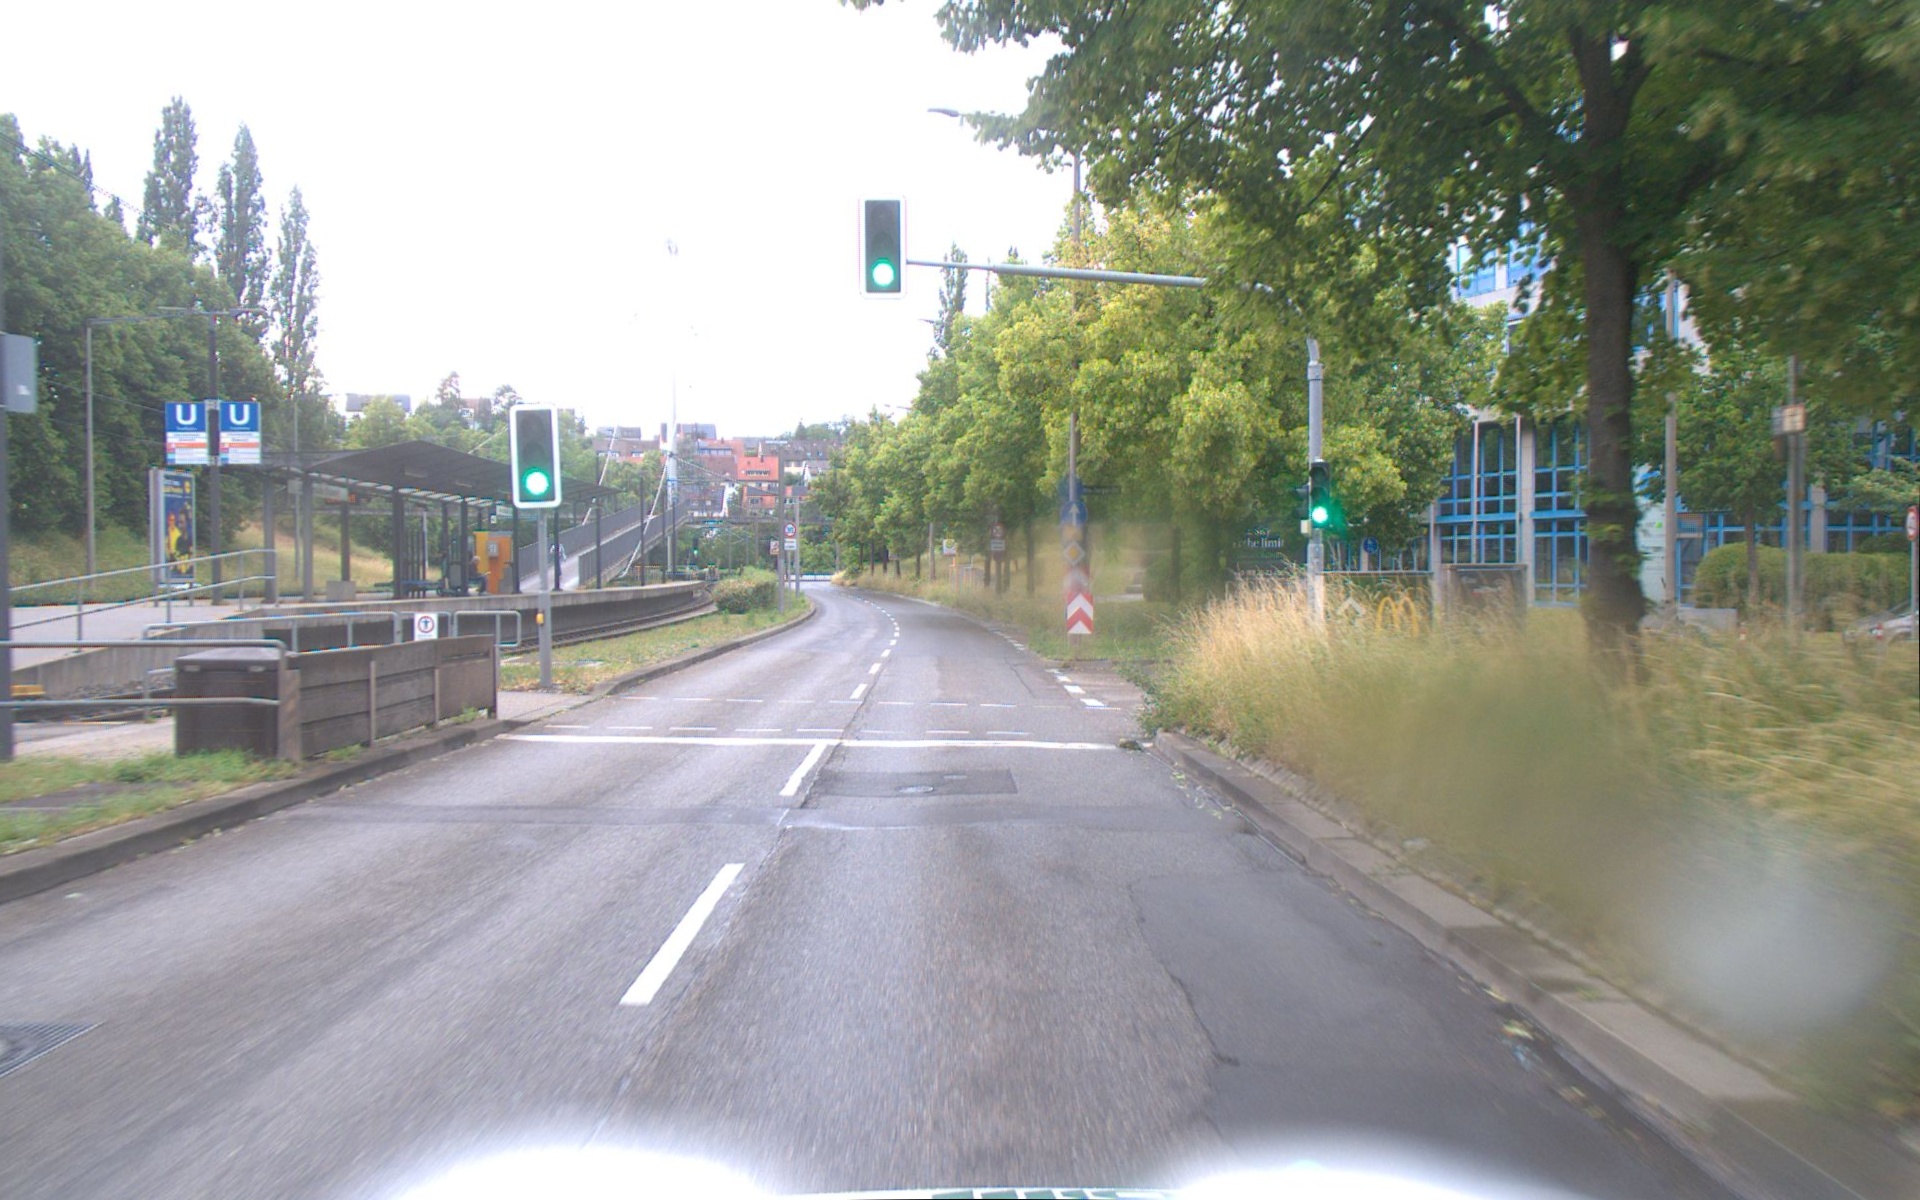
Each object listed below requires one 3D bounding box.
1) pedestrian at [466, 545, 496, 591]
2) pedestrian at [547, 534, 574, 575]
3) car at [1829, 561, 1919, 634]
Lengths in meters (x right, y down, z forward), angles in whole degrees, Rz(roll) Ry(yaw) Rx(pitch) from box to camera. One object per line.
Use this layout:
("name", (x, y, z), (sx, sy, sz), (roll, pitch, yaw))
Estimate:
("pedestrian", (-14.269, -0.953, 49.274), (0.738, 1.379, 0.691), (0, 1, -5))
("pedestrian", (-16.043, -1.828, 66.418), (0.917, 1.639, 1.026), (0, 1, -5))
("car", (23.433, -0.085, 39.888), (4.010, 1.670, 1.759), (0, 3, 4))
